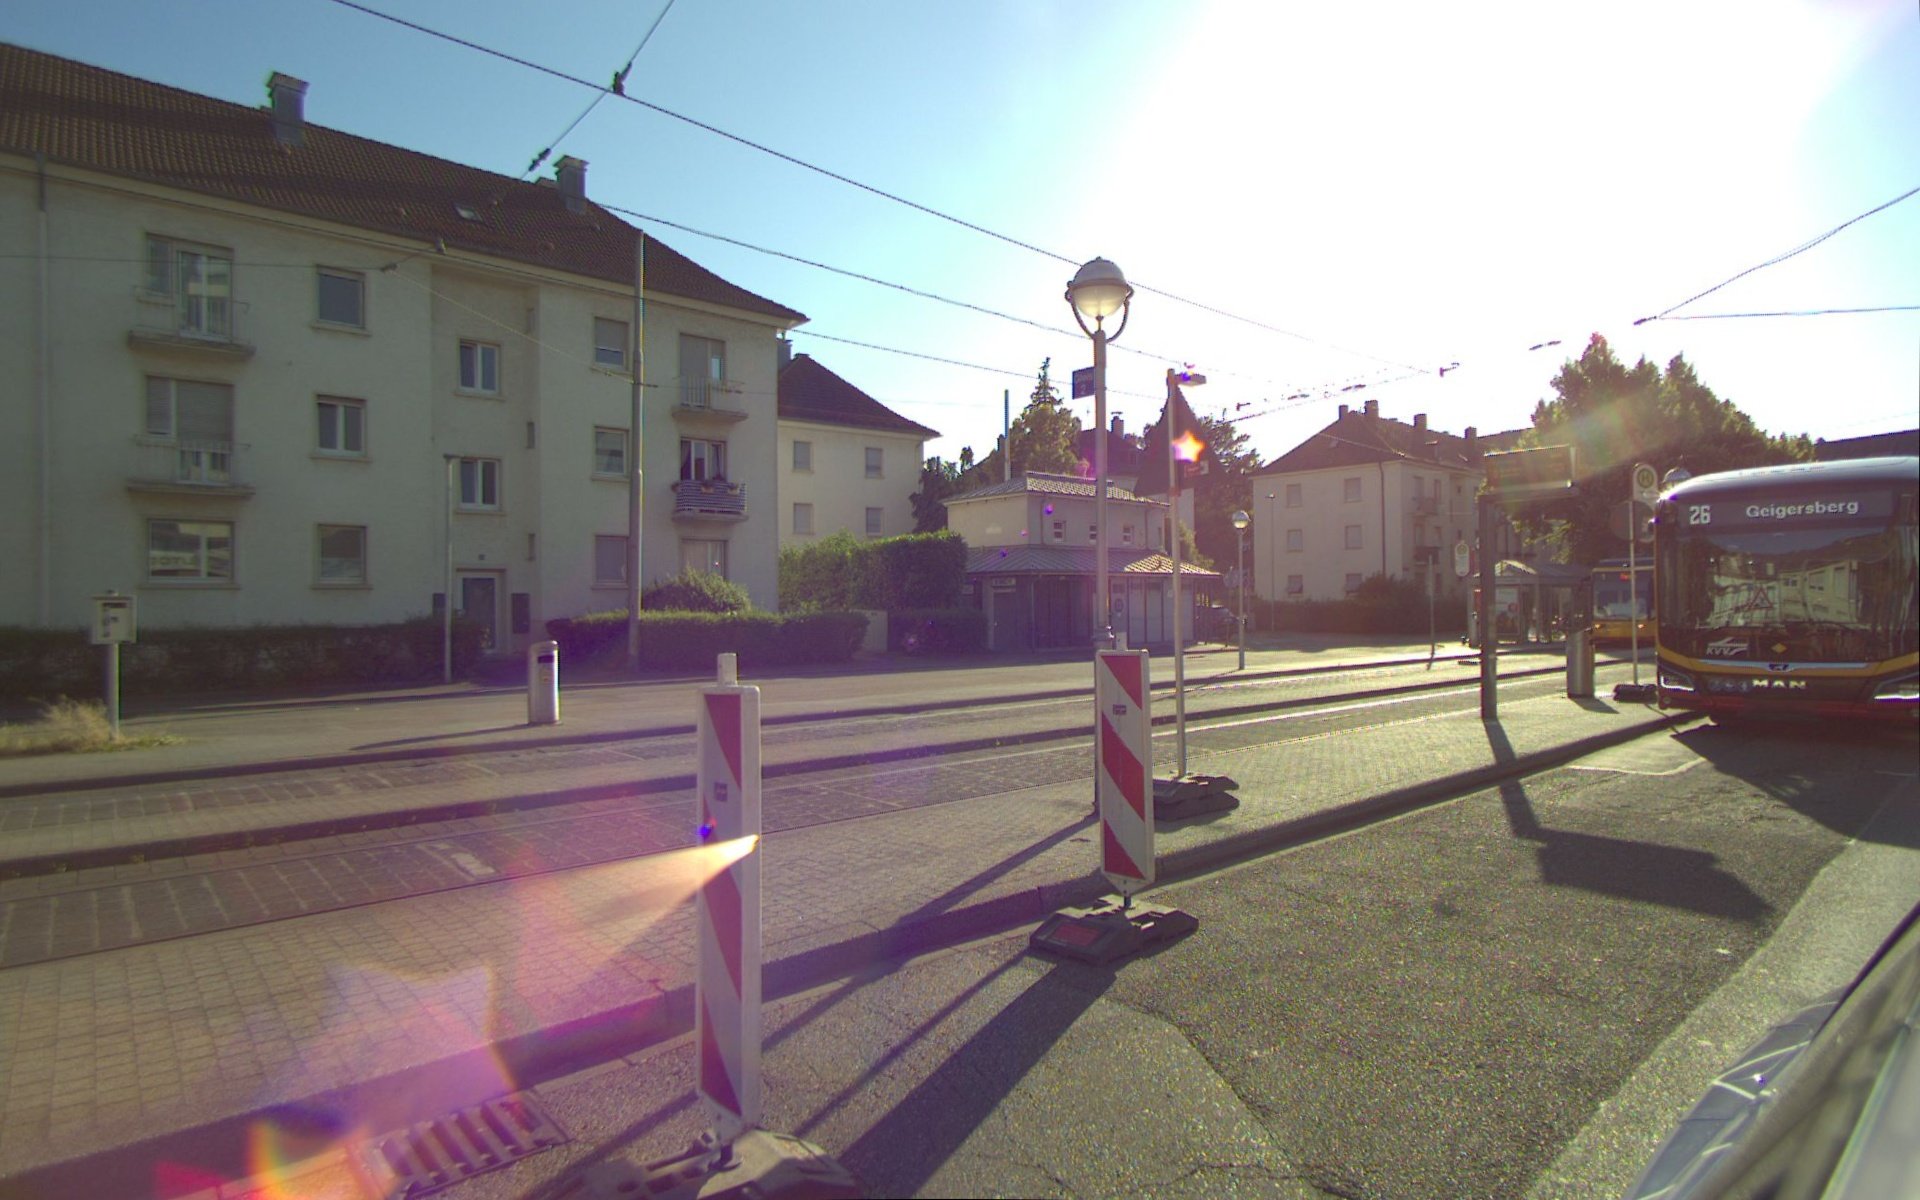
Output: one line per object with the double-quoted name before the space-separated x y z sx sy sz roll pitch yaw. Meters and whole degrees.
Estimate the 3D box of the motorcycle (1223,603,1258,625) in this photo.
"motorcycle" 15.091 0.750 54.489 0.549 1.177 1.823 0 0 -43

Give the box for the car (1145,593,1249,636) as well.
"car" 10.773 0.607 46.273 1.963 1.791 4.451 0 1 -37

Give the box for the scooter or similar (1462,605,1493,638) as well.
"scooter or similar" 19.843 0.805 38.820 1.185 1.223 0.468 0 0 -30

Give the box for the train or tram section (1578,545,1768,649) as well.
"train or tram section" 29.394 -0.317 41.166 15.698 3.578 2.961 -2 1 -42

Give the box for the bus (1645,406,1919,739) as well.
"bus" 13.655 -0.288 15.269 11.810 3.460 2.692 0 -1 -42
